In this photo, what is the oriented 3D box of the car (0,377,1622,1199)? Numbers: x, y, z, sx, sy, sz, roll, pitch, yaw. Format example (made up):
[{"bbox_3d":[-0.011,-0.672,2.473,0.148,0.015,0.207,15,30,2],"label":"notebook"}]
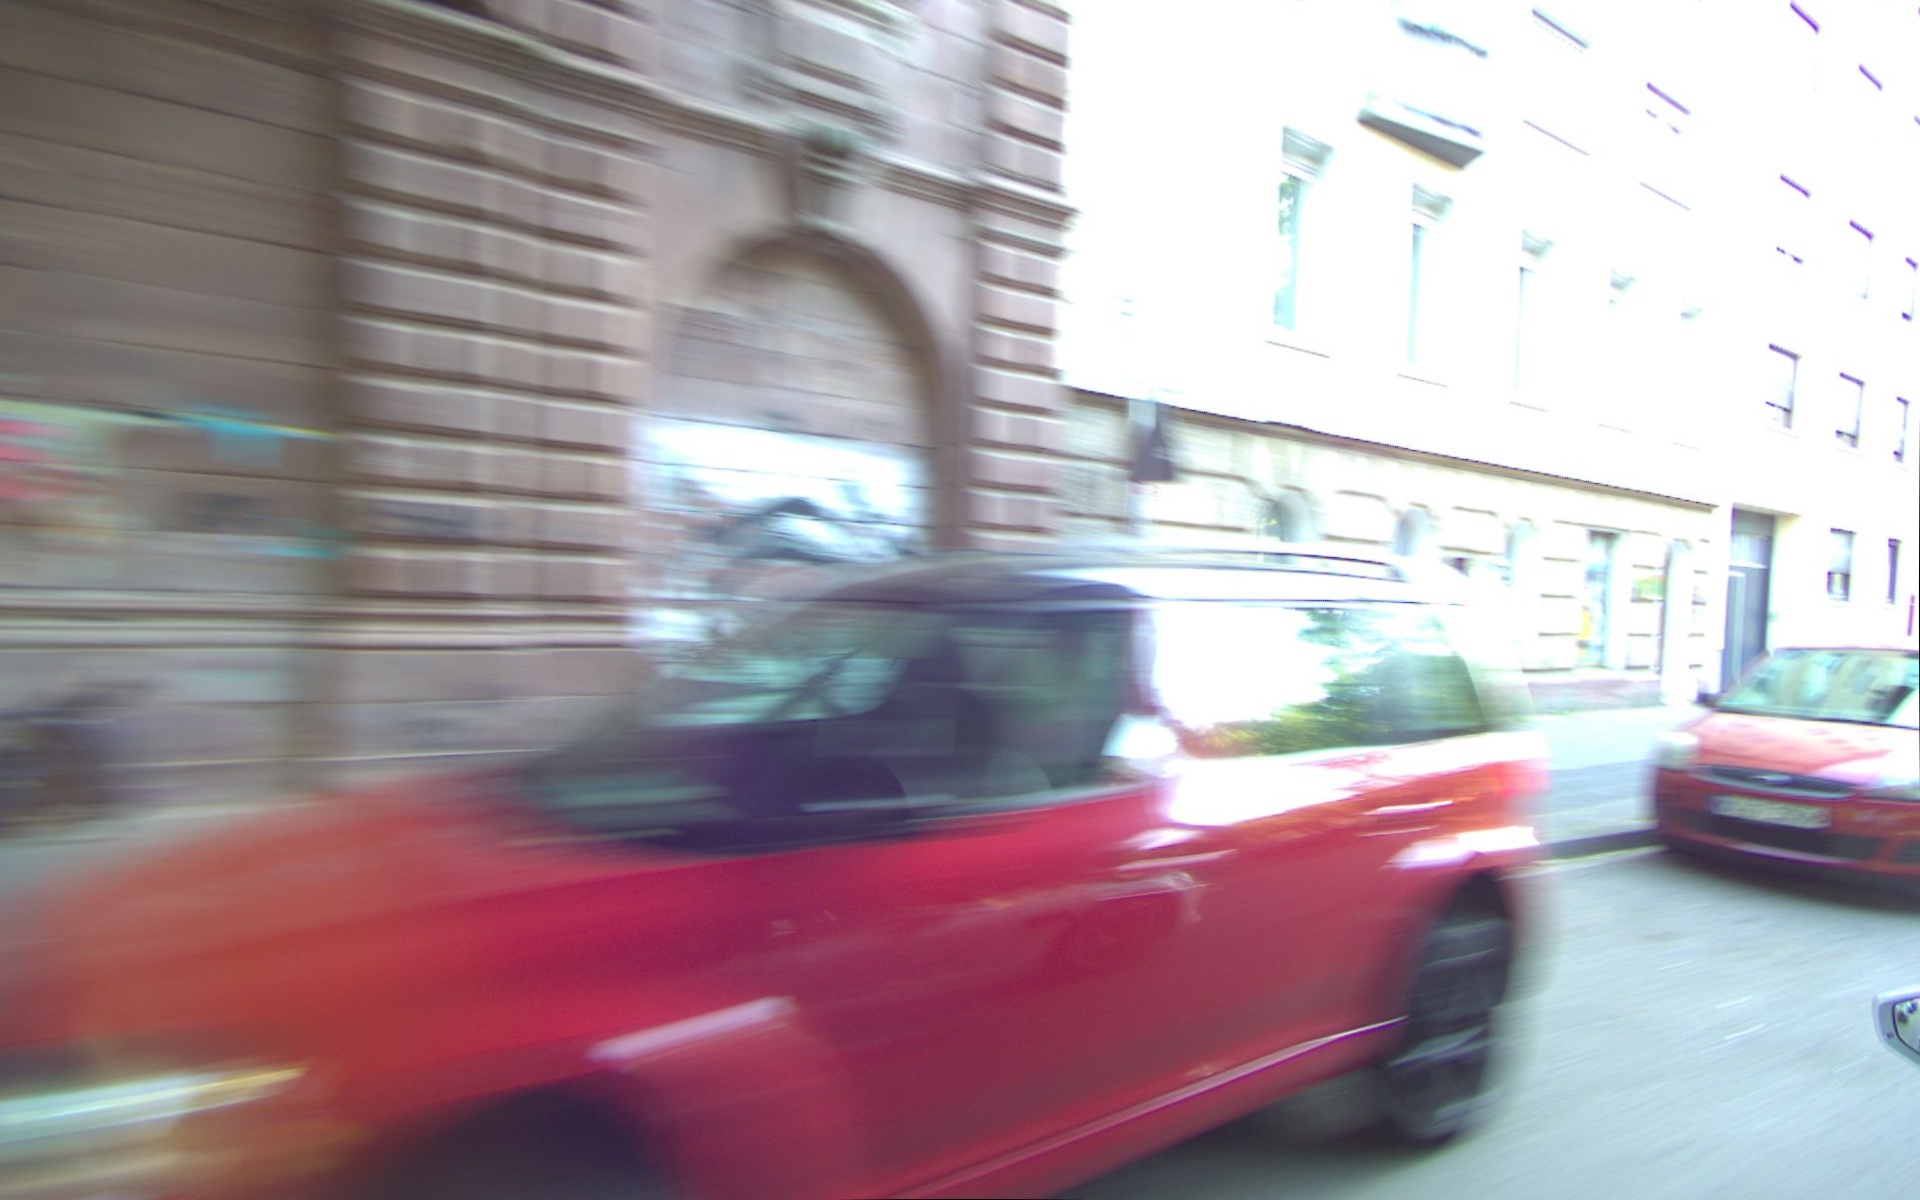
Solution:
[{"bbox_3d":[-0.152,0.660,2.754,4.277,1.730,1.706,2,0,-33],"label":"car"}]

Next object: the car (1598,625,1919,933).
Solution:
[{"bbox_3d":[6.154,0.974,6.613,3.954,1.460,1.680,2,1,-31],"label":"car"}]

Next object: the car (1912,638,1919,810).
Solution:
[{"bbox_3d":[10.423,1.125,9.092,3.954,1.486,1.629,2,-2,-31],"label":"car"}]
